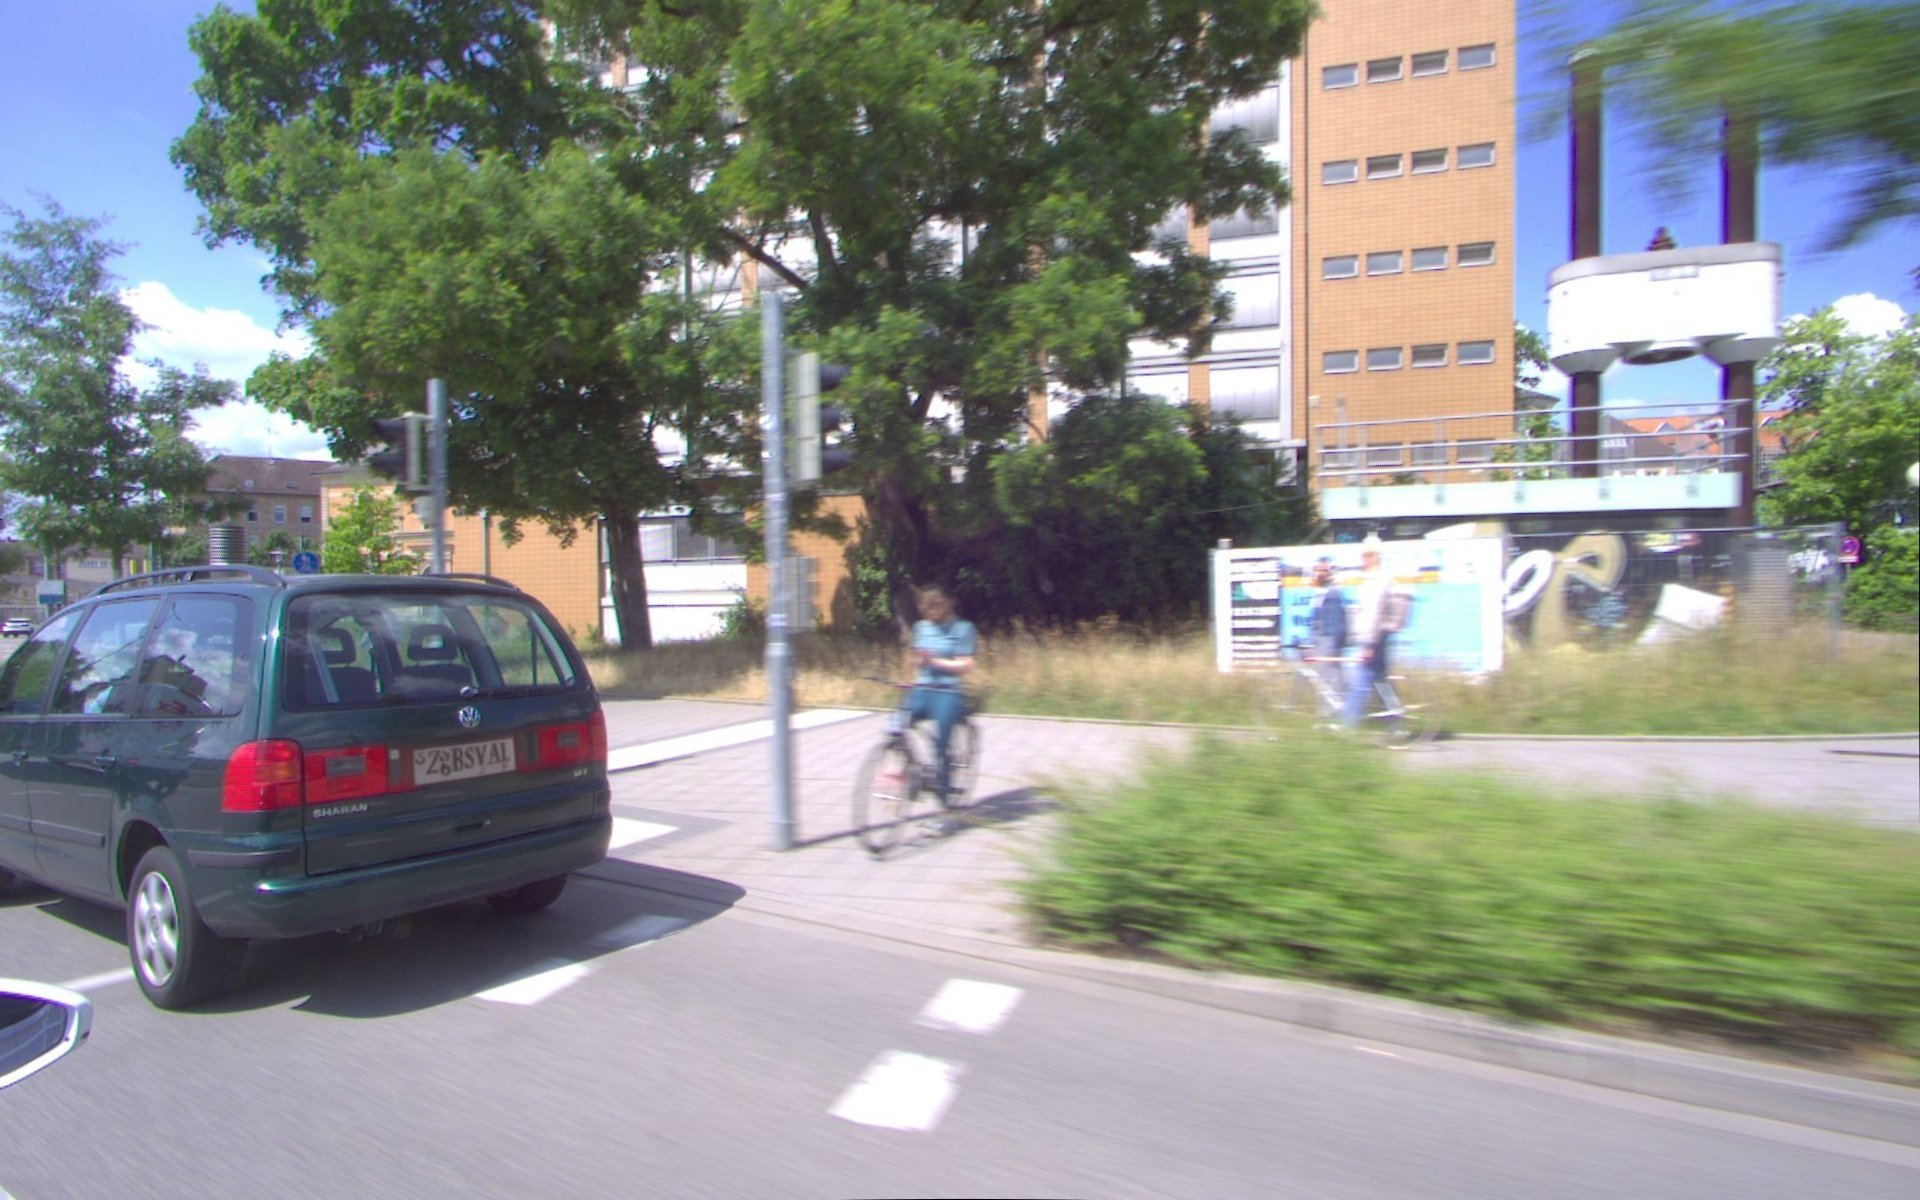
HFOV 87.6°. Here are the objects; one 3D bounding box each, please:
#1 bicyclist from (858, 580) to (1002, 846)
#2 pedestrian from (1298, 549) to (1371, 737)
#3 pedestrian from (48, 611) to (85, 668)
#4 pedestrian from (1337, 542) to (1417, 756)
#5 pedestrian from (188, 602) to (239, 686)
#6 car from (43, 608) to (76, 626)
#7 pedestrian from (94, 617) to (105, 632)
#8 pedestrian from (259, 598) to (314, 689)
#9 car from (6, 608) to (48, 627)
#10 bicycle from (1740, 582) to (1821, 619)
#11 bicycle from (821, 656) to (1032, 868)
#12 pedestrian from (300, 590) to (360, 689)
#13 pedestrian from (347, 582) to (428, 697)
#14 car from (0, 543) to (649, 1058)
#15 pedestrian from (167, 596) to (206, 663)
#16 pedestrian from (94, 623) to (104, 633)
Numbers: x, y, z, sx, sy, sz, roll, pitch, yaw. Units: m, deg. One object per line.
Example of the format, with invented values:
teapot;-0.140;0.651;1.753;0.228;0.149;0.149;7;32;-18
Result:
bicyclist;-0.178;0.697;6.652;0.570;1.623;0.827;-1;2;27
pedestrian;3.715;0.404;9.921;0.600;1.776;0.749;1;2;27
pedestrian;-25.957;1.150;29.090;0.753;1.610;0.752;-1;-1;43
pedestrian;3.743;0.412;8.975;0.600;1.827;0.749;1;2;27
pedestrian;-15.195;0.888;20.378;0.766;1.648;0.646;-1;2;44
car;-88.212;1.635;98.098;1.863;1.663;3.930;0;0;-34
pedestrian;-84.834;2.403;98.751;0.685;1.476;0.676;0;-1;-31
pedestrian;-12.532;0.808;18.629;0.716;1.647;0.587;-1;-1;28
car;-82.009;1.506;88.085;1.860;1.663;3.936;0;0;-30
bicycle;31.207;0.043;38.130;2.325;1.364;0.638;-1;-1;13
bicycle;-0.151;0.983;6.690;0.582;1.064;1.807;-1;2;27
pedestrian;-12.077;0.760;19.200;0.628;1.844;0.755;-1;-1;28
pedestrian;-9.572;0.646;16.761;0.767;1.847;0.755;-1;4;22
car;-3.839;0.715;5.360;4.385;1.745;1.790;-1;-1;33
pedestrian;-21.693;0.837;28.083;0.666;1.844;0.752;-1;-1;41
pedestrian;-84.840;2.760;98.658;0.519;0.918;1.553;0;-2;-31
